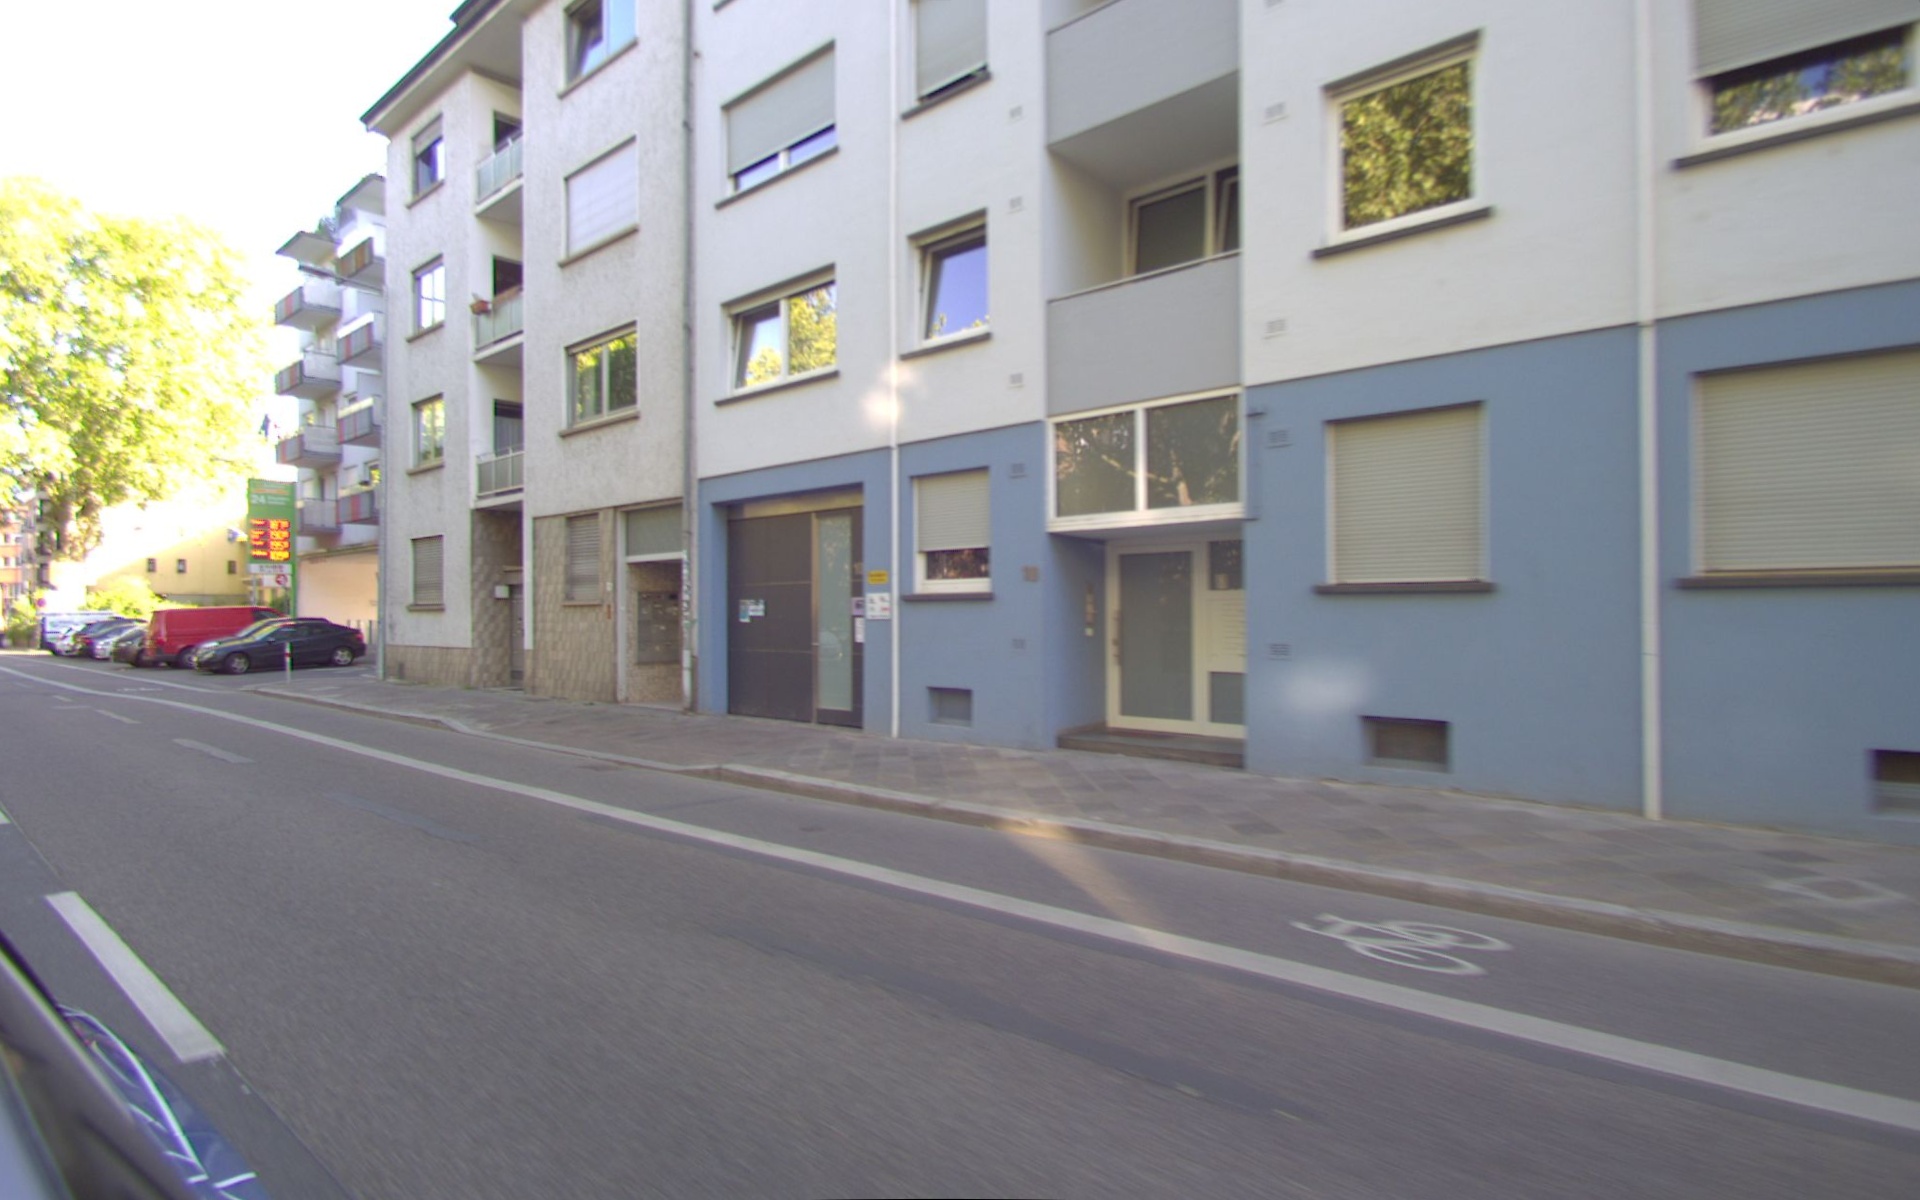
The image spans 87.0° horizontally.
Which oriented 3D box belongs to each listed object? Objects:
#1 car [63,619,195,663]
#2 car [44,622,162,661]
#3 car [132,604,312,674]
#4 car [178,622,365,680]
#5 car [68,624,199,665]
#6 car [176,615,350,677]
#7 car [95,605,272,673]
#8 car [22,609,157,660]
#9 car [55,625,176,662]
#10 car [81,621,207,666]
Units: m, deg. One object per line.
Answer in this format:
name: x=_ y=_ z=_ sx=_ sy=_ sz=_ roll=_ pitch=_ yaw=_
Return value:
car: x=-36.081 y=1.748 z=44.023 sx=2.027 sy=1.696 sz=4.150 roll=-1 pitch=0 yaw=41
car: x=-39.745 y=1.905 z=47.014 sx=1.852 sy=1.571 sz=3.945 roll=-2 pitch=0 yaw=41
car: x=-24.206 y=1.231 z=33.317 sx=2.145 sy=1.966 sz=4.375 roll=-2 pitch=1 yaw=41
car: x=-20.234 y=1.441 z=29.865 sx=2.045 sy=1.390 sz=4.184 roll=-1 pitch=1 yaw=41
car: x=-34.176 y=1.821 z=41.929 sx=1.915 sy=1.466 sz=3.945 roll=-2 pitch=0 yaw=41
car: x=-21.697 y=1.373 z=31.618 sx=1.886 sy=1.575 sz=4.130 roll=-1 pitch=1 yaw=41
car: x=-26.562 y=1.286 z=34.731 sx=2.056 sy=1.966 sz=4.475 roll=-2 pitch=1 yaw=41
car: x=-43.023 y=1.647 z=50.111 sx=2.139 sy=2.233 sz=4.794 roll=-2 pitch=1 yaw=41
car: x=-38.027 y=1.940 z=45.609 sx=1.852 sy=1.444 sz=3.945 roll=-2 pitch=0 yaw=41
car: x=-32.563 y=1.709 z=40.455 sx=1.830 sy=1.524 sz=3.647 roll=-1 pitch=1 yaw=41
